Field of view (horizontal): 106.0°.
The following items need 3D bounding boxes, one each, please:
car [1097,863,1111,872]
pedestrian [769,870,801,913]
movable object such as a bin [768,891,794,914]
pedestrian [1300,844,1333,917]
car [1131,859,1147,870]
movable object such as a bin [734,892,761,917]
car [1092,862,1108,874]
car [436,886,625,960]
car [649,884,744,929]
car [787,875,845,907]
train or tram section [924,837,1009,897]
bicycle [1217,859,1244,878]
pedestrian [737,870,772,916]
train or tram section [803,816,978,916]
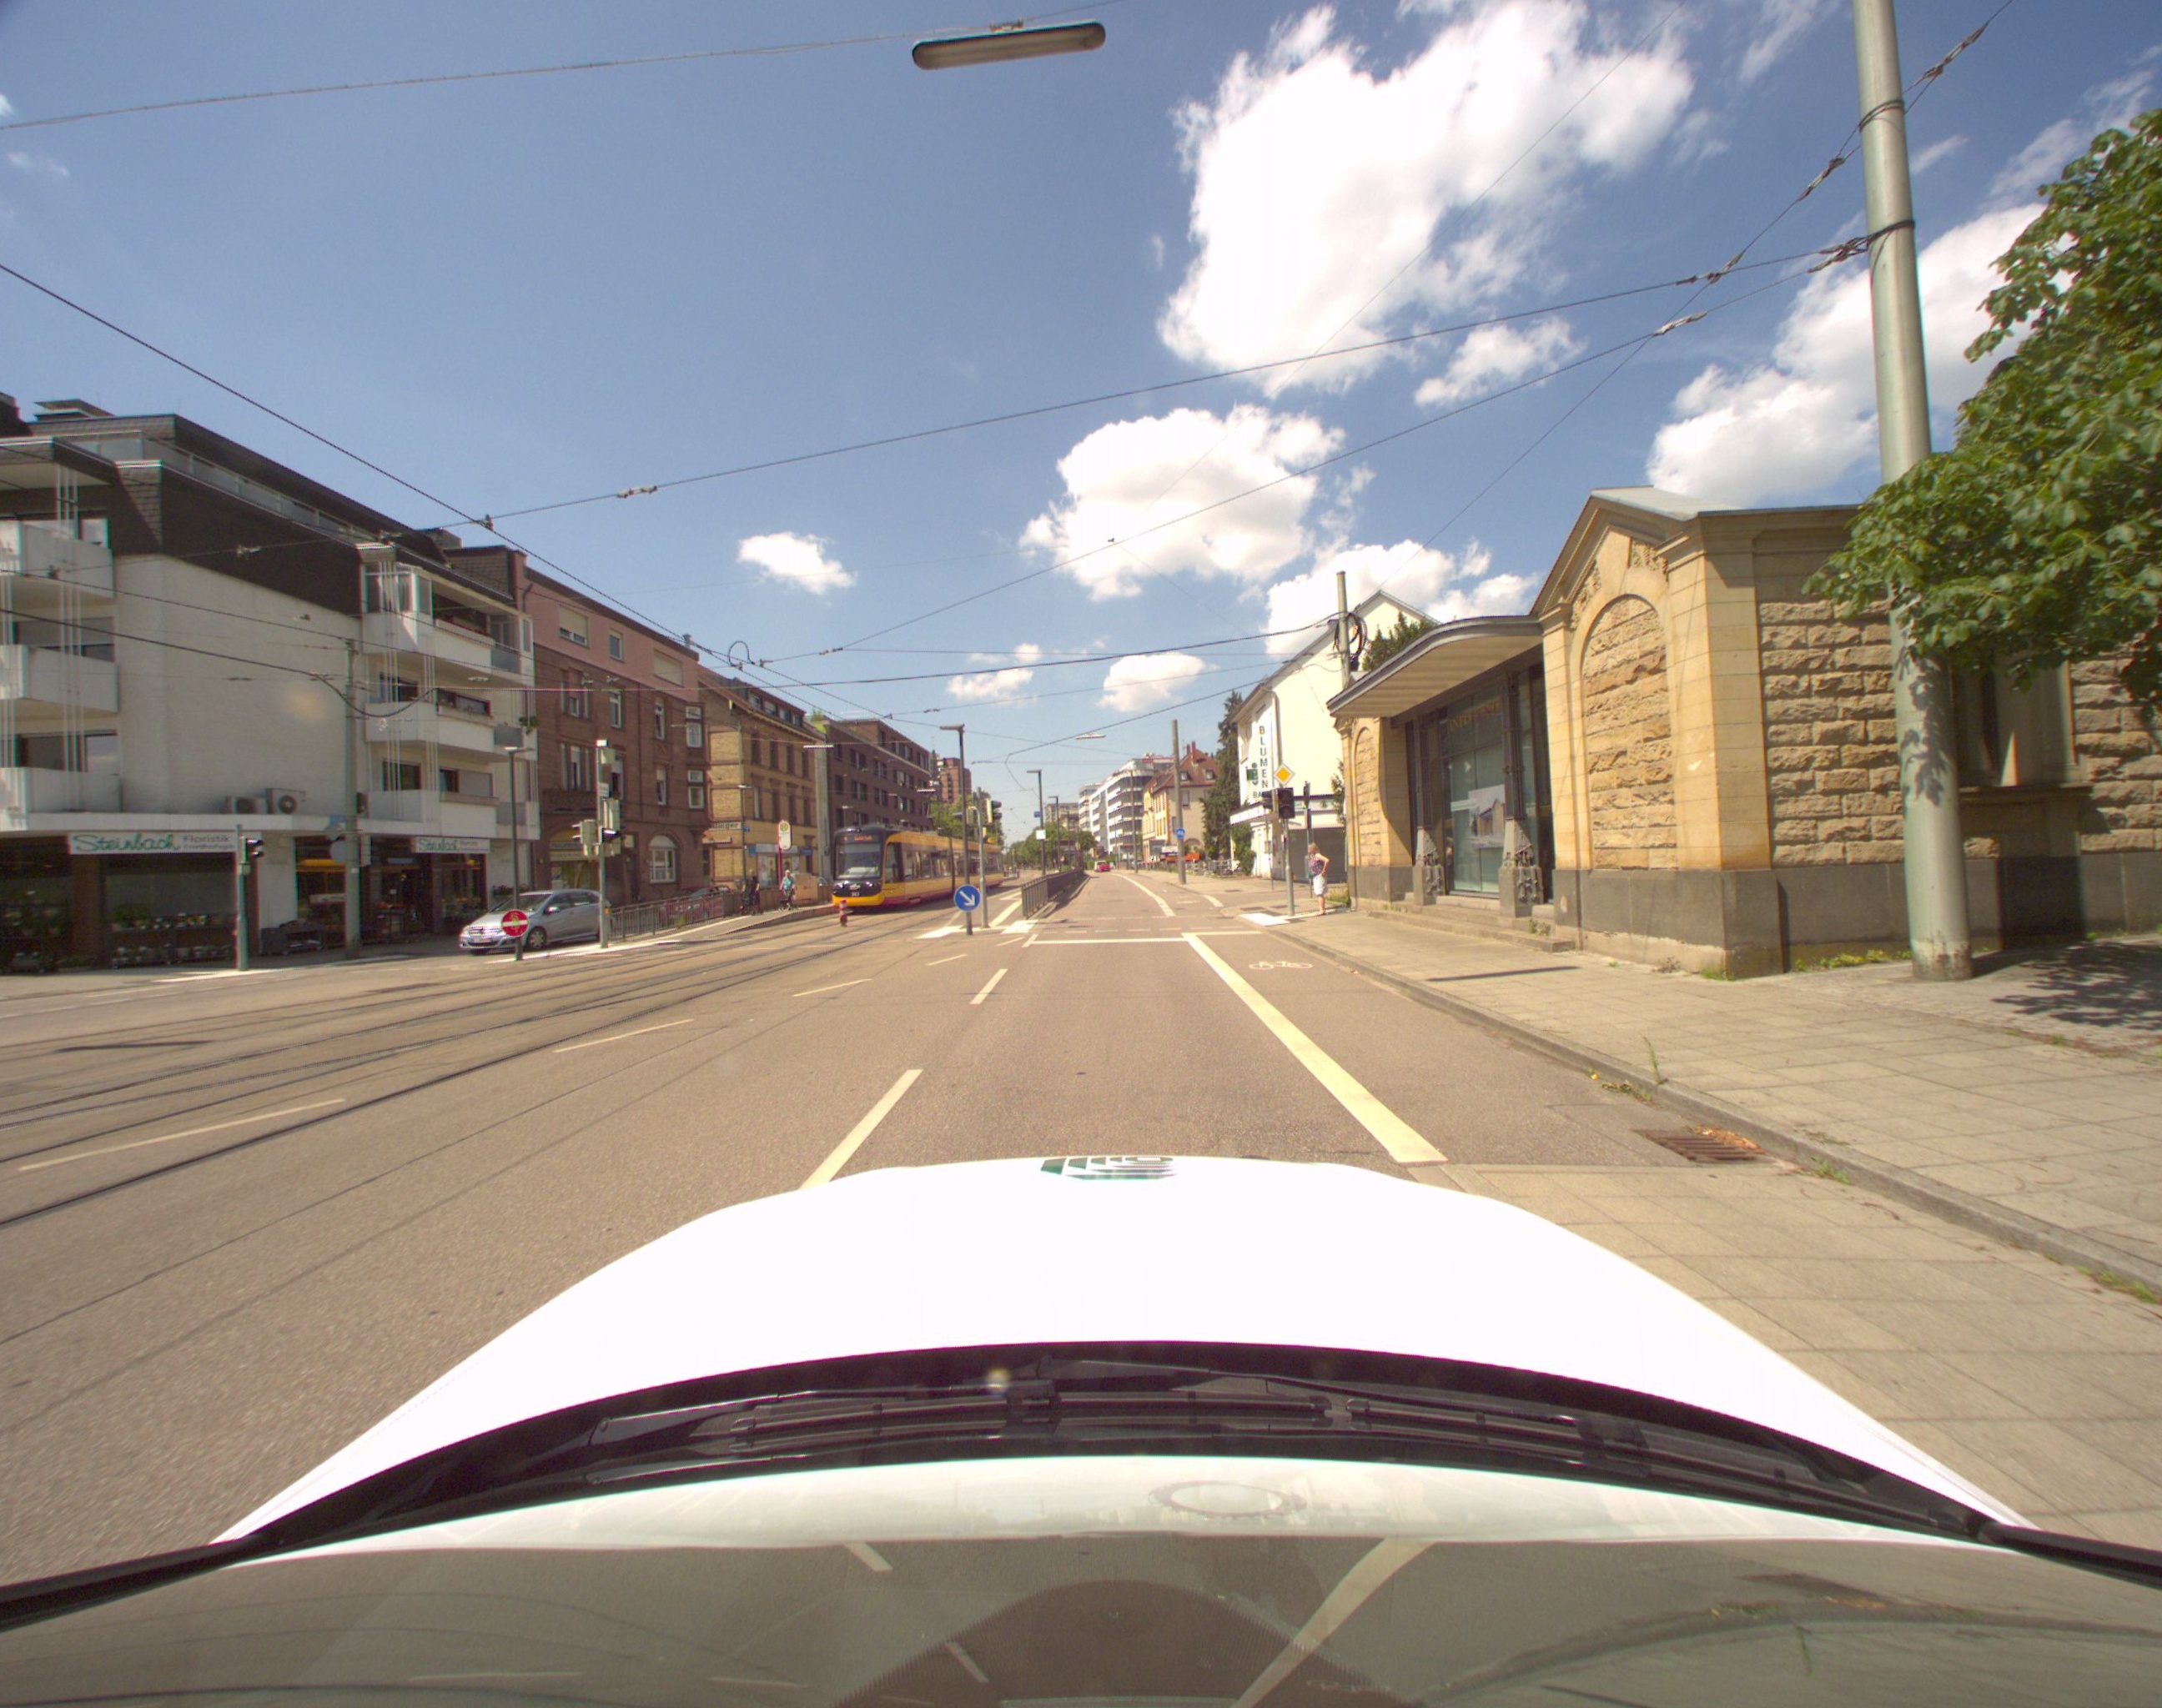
[{"bbox_3d":[3.985,2.385,141.700,1.990,1.442,4.010,-2,-1,-4],"label":"car"},{"bbox_3d":[-11.177,1.420,30.795,0.782,1.560,0.920,-3,-1,1],"label":"pedestrian"},{"bbox_3d":[-11.149,1.799,30.263,0.673,0.780,0.619,-3,-1,0],"label":"movable object such as a bin"},{"bbox_3d":[5.546,0.611,19.137,0.558,1.666,0.685,-3,-1,24],"label":"pedestrian"},{"bbox_3d":[9.301,1.767,131.755,1.874,1.624,4.633,-5,-1,-3],"label":"car"},{"bbox_3d":[-11.549,1.752,28.222,0.673,0.780,0.538,-3,-1,-1],"label":"movable object such as a bin"},{"bbox_3d":[3.401,2.475,148.205,1.991,1.991,5.502,-4,-1,-6],"label":"car"},{"bbox_3d":[-15.059,1.813,22.649,1.726,1.615,4.613,-3,-1,6],"label":"car"},{"bbox_3d":[-14.615,1.952,31.225,1.648,1.445,3.855,-3,-1,2],"label":"car"},{"bbox_3d":[-14.291,1.978,44.110,1.644,1.456,3.792,-4,-1,3],"label":"car"},{"bbox_3d":[-7.871,0.966,58.938,3.223,3.567,16.353,-3,-1,2],"label":"train or tram section"},{"bbox_3d":[9.363,0.884,50.980,1.524,1.086,0.430,-5,-1,7],"label":"bicycle"},{"bbox_3d":[-11.555,1.373,28.854,0.782,1.560,0.920,-3,-1,1],"label":"pedestrian"},{"bbox_3d":[-8.416,0.622,40.662,3.239,3.567,20.505,-3,-1,2],"label":"train or tram section"}]
